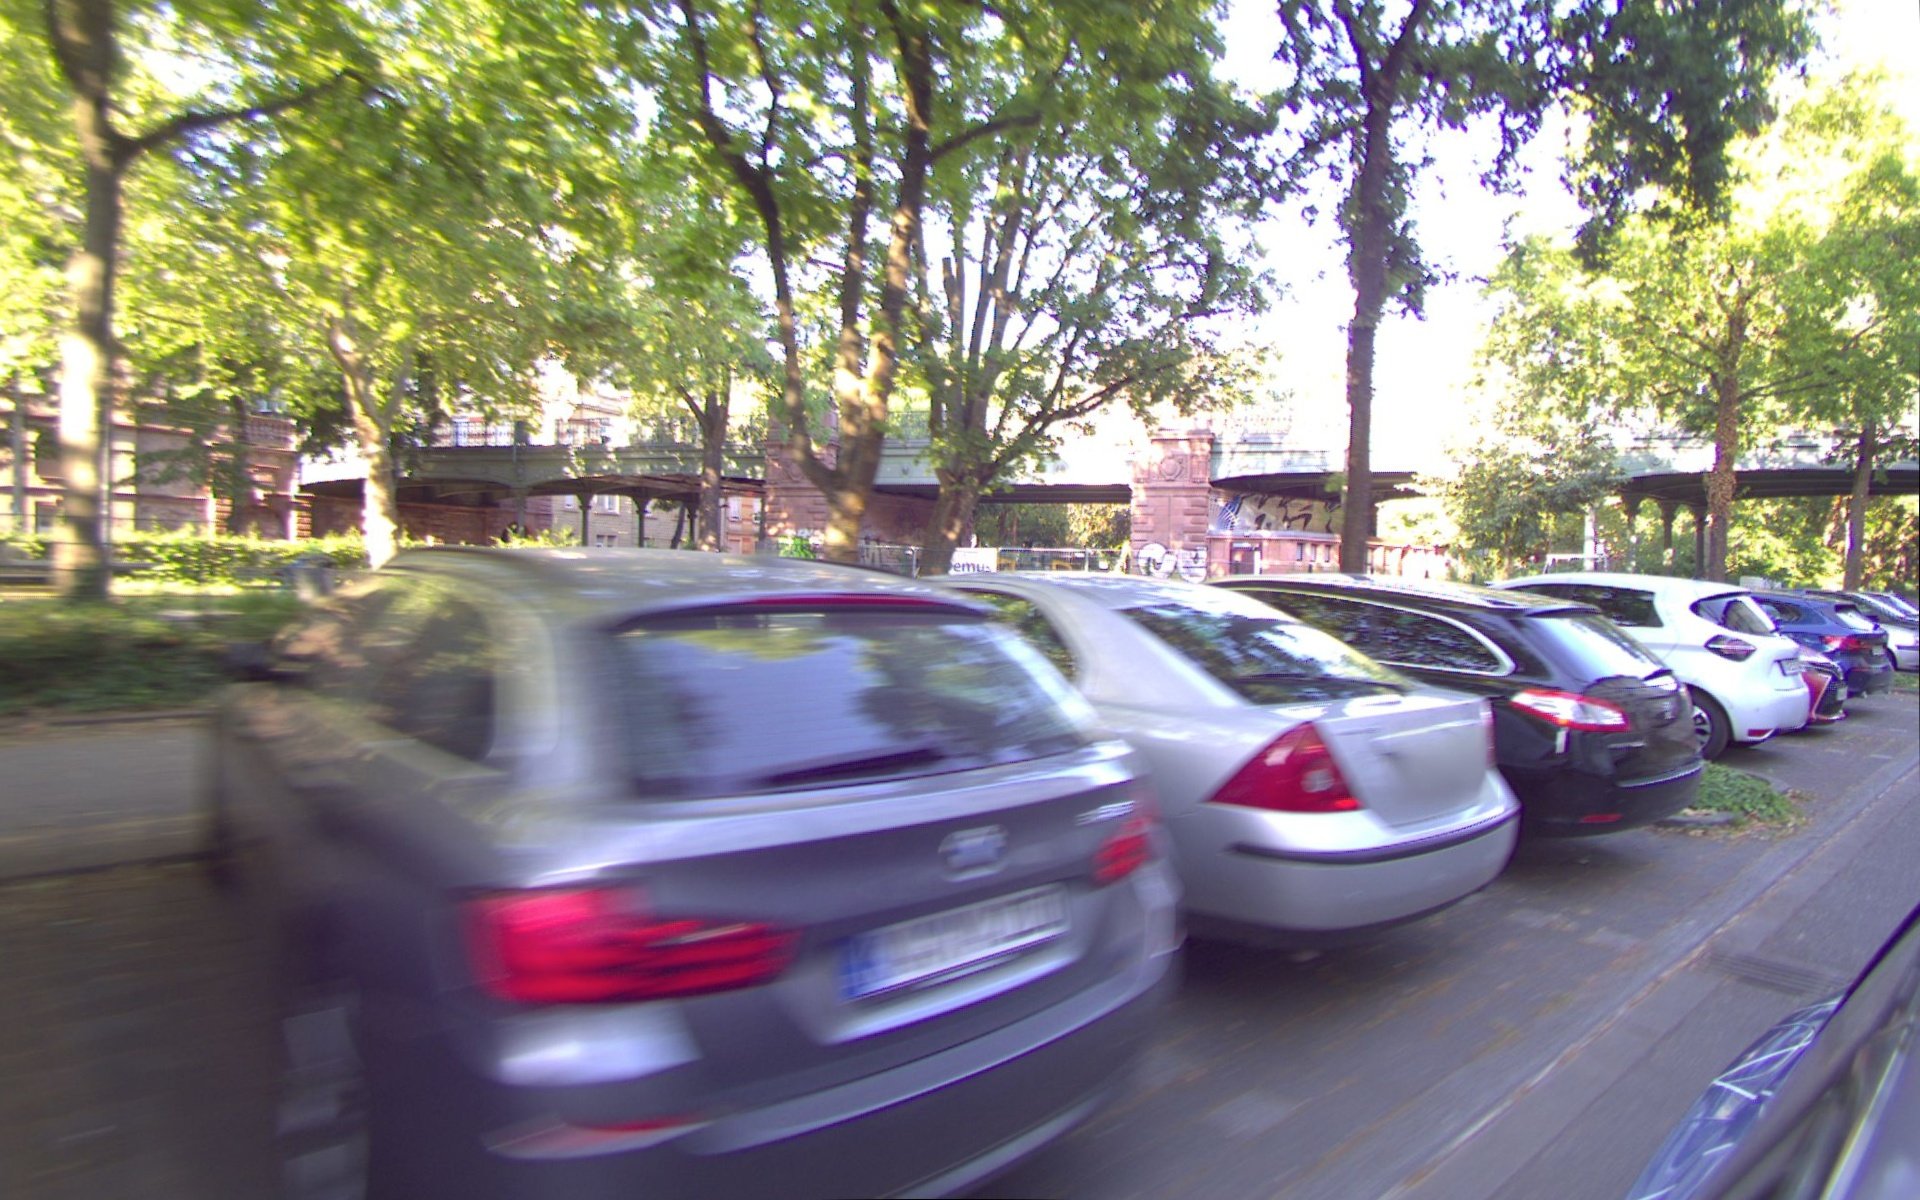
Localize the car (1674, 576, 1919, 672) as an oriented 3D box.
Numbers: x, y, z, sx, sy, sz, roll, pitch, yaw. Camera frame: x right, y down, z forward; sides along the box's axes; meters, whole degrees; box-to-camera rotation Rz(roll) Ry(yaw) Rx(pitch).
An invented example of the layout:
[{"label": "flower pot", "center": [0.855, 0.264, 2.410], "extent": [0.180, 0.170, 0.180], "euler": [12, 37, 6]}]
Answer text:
[{"label": "car", "center": [15.188, 0.358, 17.967], "extent": [1.635, 1.418, 3.791], "euler": [-2, 4, -40]}]

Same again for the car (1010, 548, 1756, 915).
[{"label": "car", "center": [2.321, 0.473, 6.775], "extent": [1.633, 1.596, 4.416], "euler": [-2, 4, -34]}]

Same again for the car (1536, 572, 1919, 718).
[{"label": "car", "center": [9.836, 0.437, 13.100], "extent": [1.632, 1.464, 3.797], "euler": [-2, 4, -34]}]

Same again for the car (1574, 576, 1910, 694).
[{"label": "car", "center": [11.747, 0.417, 15.379], "extent": [1.737, 1.418, 3.787], "euler": [-3, 4, -43]}]

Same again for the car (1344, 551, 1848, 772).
[{"label": "car", "center": [5.926, 0.385, 9.829], "extent": [1.635, 1.666, 3.792], "euler": [-2, 4, -39]}]

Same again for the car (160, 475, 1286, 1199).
[{"label": "car", "center": [-1.370, 0.479, 3.435], "extent": [1.807, 1.519, 4.407], "euler": [-2, 4, -42]}]

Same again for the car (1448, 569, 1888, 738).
[{"label": "car", "center": [7.896, 0.449, 11.616], "extent": [1.634, 1.491, 3.794], "euler": [-2, 4, -37]}]

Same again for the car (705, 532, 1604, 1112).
[{"label": "car", "center": [0.393, 0.478, 5.017], "extent": [1.634, 1.596, 4.413], "euler": [-2, 4, -37]}]

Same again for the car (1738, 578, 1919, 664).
[{"label": "car", "center": [17.439, 0.371, 19.285], "extent": [1.794, 1.418, 3.793], "euler": [-2, 4, -38]}]

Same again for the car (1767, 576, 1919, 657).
[{"label": "car", "center": [19.138, 0.316, 20.788], "extent": [1.608, 1.490, 3.787], "euler": [-2, 4, -43]}]

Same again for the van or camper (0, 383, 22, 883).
[{"label": "van or camper", "center": [-3.396, 0.258, 1.780], "extent": [1.992, 2.052, 5.431], "euler": [1, 2, -37]}]
